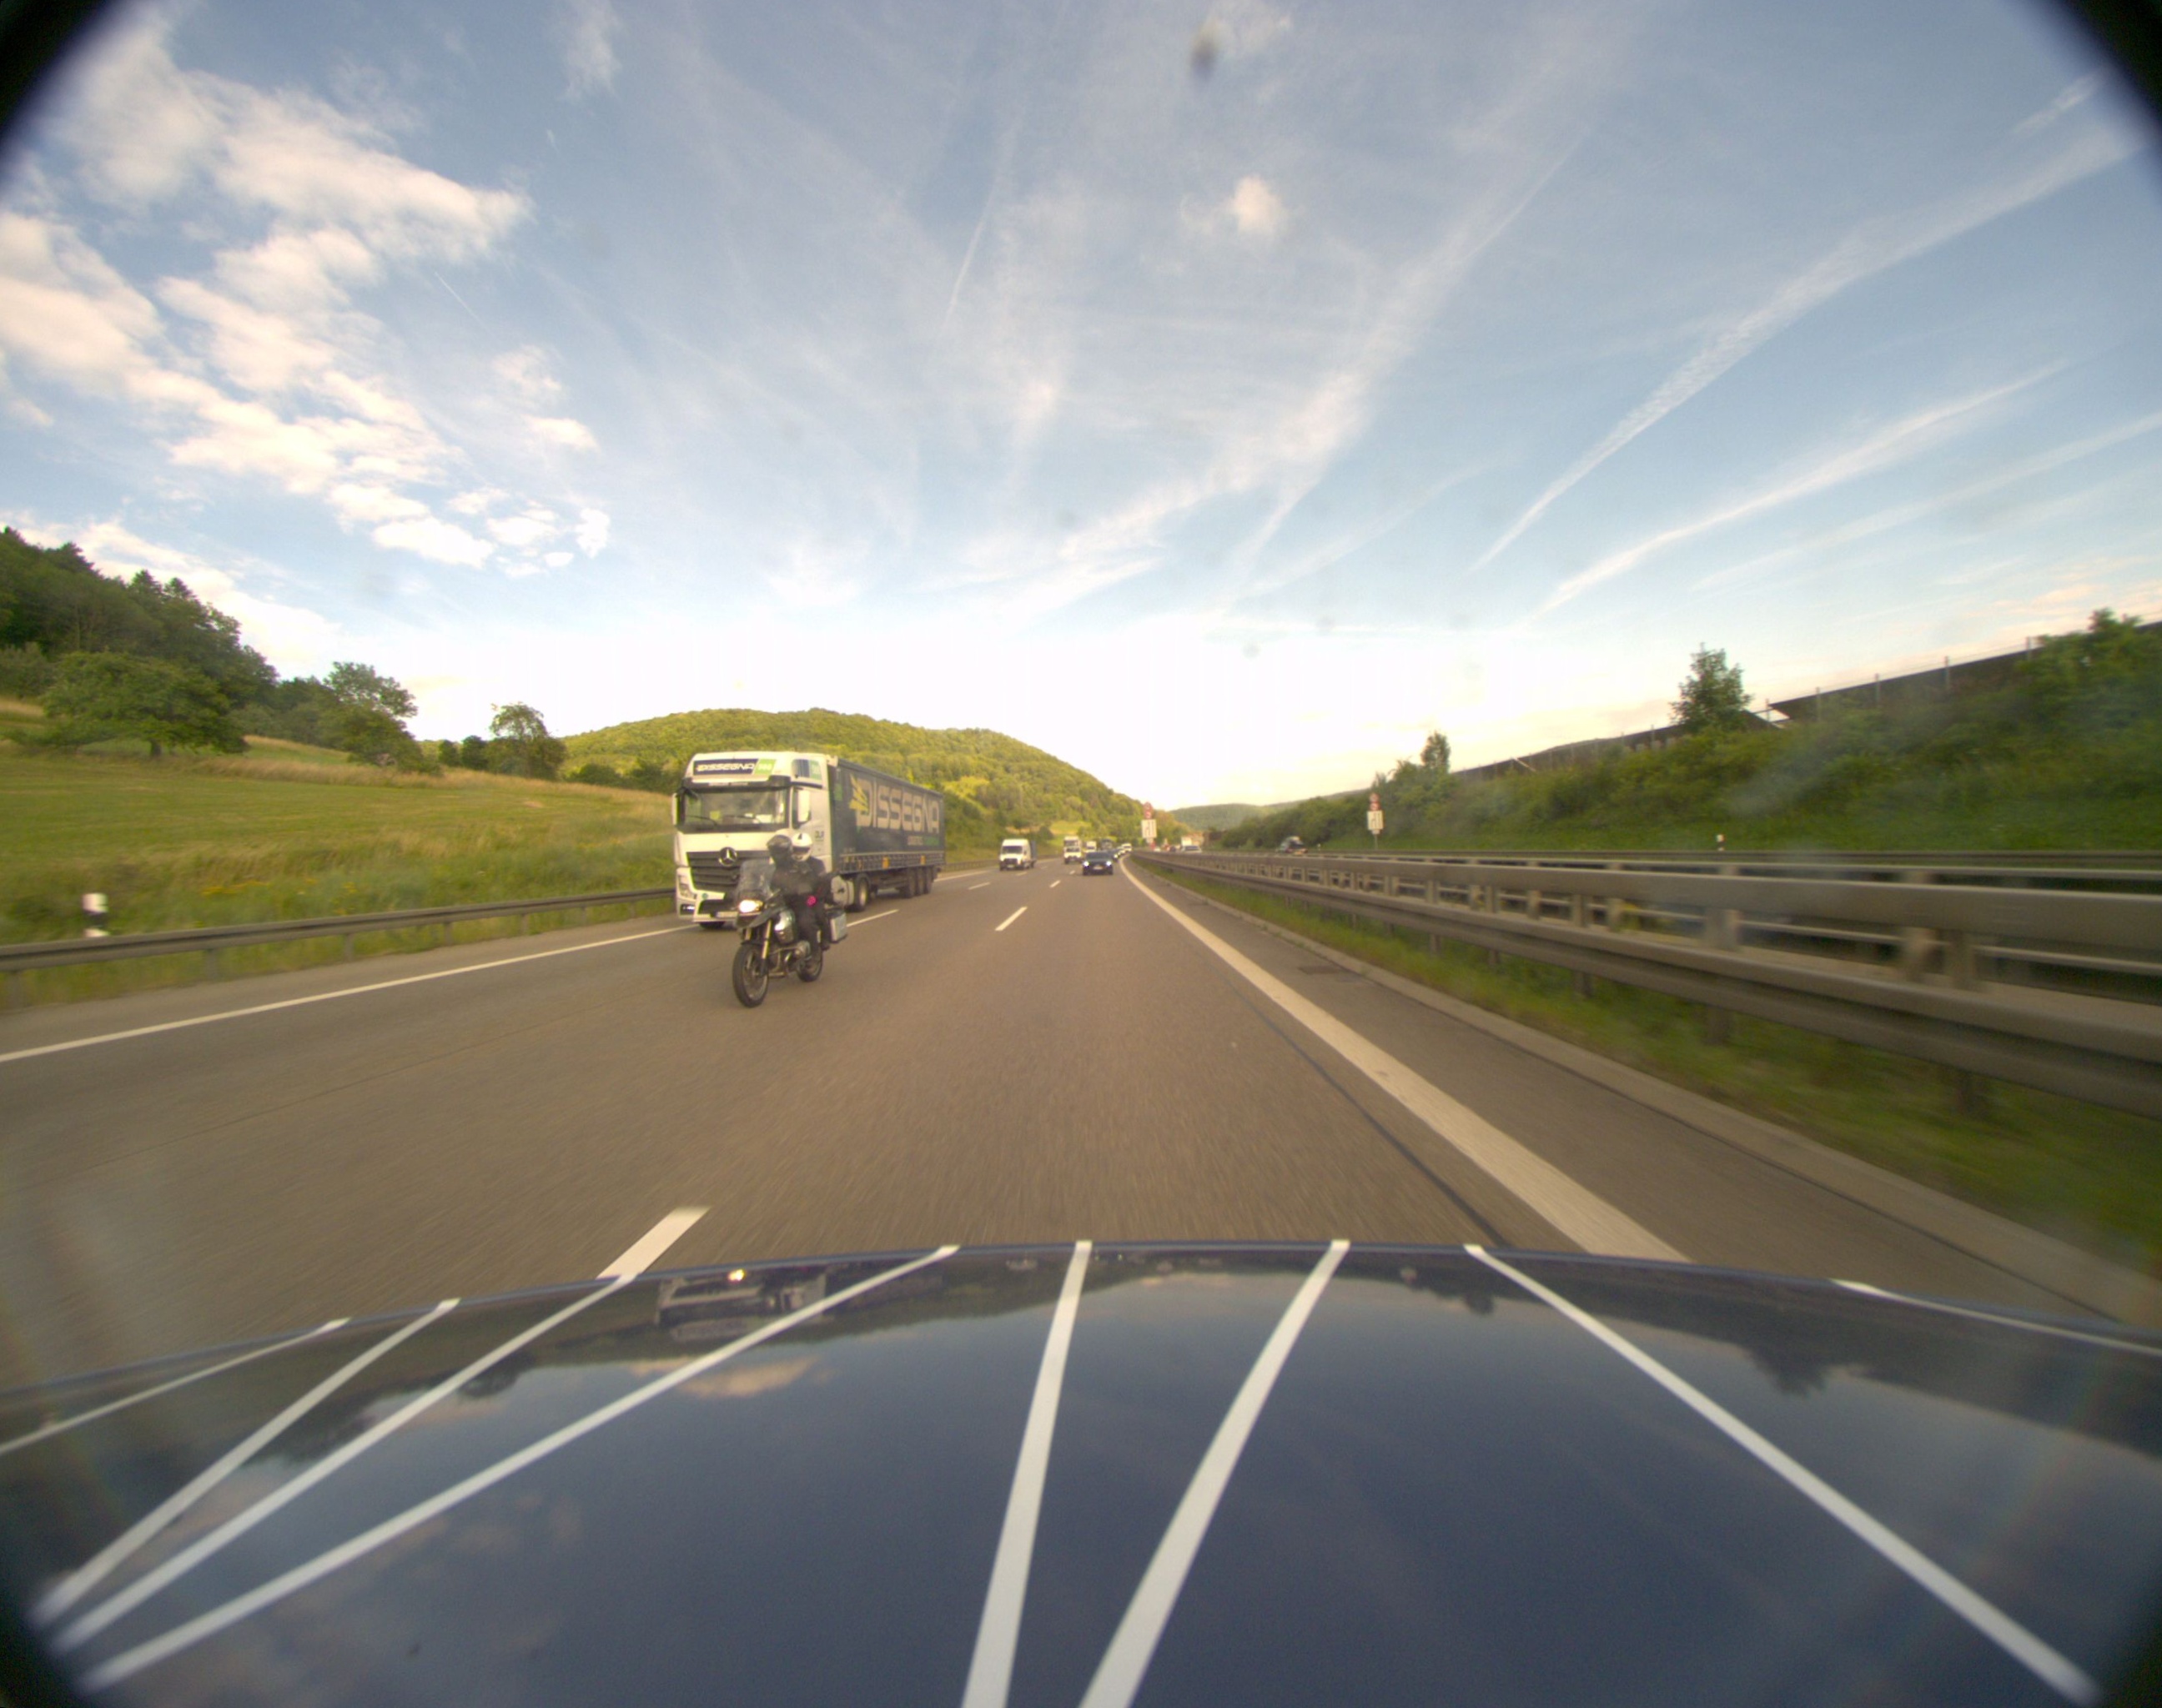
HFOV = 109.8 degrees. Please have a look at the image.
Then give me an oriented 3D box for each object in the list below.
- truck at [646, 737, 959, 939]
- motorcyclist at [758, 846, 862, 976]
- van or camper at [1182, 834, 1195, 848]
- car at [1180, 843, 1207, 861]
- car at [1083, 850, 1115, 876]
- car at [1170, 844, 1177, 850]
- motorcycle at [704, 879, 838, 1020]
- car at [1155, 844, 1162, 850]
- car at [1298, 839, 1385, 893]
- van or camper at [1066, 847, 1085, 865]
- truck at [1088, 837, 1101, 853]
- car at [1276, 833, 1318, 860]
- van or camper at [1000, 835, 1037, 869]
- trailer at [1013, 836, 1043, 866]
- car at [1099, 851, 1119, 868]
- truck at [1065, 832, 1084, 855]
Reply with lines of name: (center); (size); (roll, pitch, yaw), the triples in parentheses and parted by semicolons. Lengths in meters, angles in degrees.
truck: (-7.040, -0.410, 24.187); (2.972, 3.969, 17.731); (-2, 1, 1)
motorcyclist: (-3.311, 0.673, 9.362); (0.878, 1.506, 0.798); (-2, 1, 6)
van or camper: (27.856, -3.265, 197.509); (2.487, 3.531, 7.978); (-2, 1, 4)
car: (10.793, -0.255, 72.951); (1.837, 1.582, 5.019); (-3, 1, 1)
car: (1.138, 0.518, 45.973); (1.580, 1.311, 4.000); (-2, 2, 6)
car: (24.589, -1.859, 202.441); (1.647, 1.647, 4.345); (-2, 1, 3)
motorcycle: (-3.398, 0.990, 8.519); (0.628, 1.331, 1.739); (-2, 1, 4)
car: (20.686, -1.884, 203.386); (1.784, 1.401, 3.763); (-2, 1, 5)
car: (8.735, 0.356, 25.804); (1.647, 1.646, 4.345); (-2, 1, 3)
van or camper: (-0.613, 0.219, 85.096); (1.999, 1.881, 4.486); (-2, 1, -1)
truck: (3.120, -2.060, 175.335); (2.708, 3.627, 9.032); (-2, 1, 1)
car: (17.658, -0.621, 62.360); (1.967, 2.028, 5.019); (-3, 1, 1)
van or camper: (-5.268, -0.198, 65.134); (1.998, 2.701, 7.524); (-2, 0, 4)
trailer: (-4.888, -0.310, 71.166); (1.998, 2.710, 5.250); (-2, 1, 4)
car: (3.253, 0.607, 87.911); (1.999, 1.870, 3.999); (-1, 0, -2)
truck: (-1.104, -1.908, 138.968); (2.925, 3.876, 13.009); (-2, 1, 2)
